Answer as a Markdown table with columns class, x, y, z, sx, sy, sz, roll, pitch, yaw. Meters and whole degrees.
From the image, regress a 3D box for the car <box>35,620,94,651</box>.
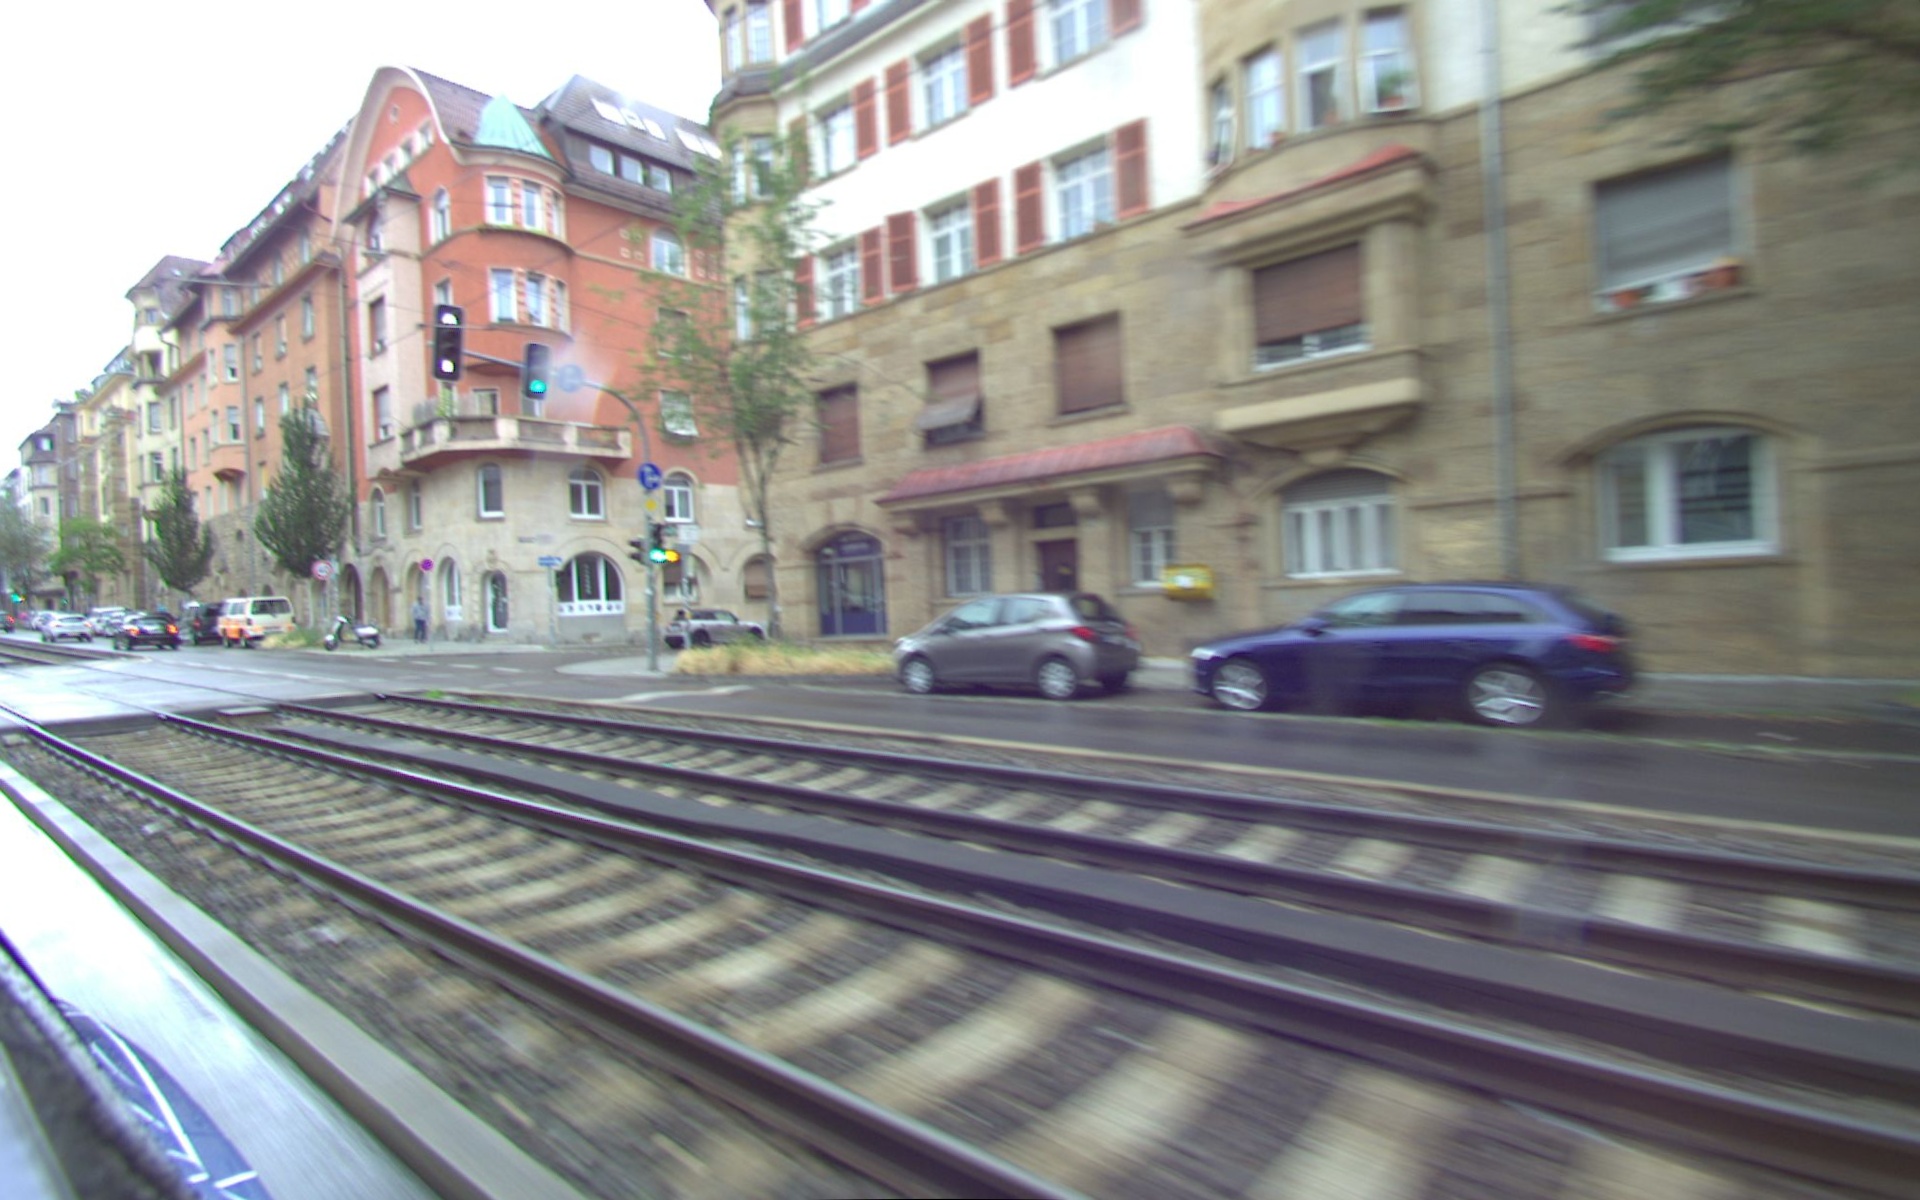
| class | x | y | z | sx | sy | sz | roll | pitch | yaw |
| --- | --- | --- | --- | --- | --- | --- | --- | --- | --- |
| car | -47.209 | 1.833 | 53.351 | 4.059 | 1.514 | 1.763 | -1 | 0 | 40 |

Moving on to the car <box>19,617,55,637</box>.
| class | x | y | z | sx | sy | sz | roll | pitch | yaw |
| --- | --- | --- | --- | --- | --- | --- | --- | --- | --- |
| car | -73.175 | 2.111 | 80.239 | 3.712 | 1.438 | 1.736 | 0 | 3 | 43 |

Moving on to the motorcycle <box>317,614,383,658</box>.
| class | x | y | z | sx | sy | sz | roll | pitch | yaw |
| --- | --- | --- | --- | --- | --- | --- | --- | --- | --- |
| motorcycle | -20.346 | 1.185 | 33.792 | 1.754 | 1.385 | 0.770 | -1 | 0 | -17 |

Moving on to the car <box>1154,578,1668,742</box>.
| class | x | y | z | sx | sy | sz | roll | pitch | yaw |
| --- | --- | --- | --- | --- | --- | --- | --- | --- | --- |
| car | 4.818 | 0.547 | 11.336 | 4.975 | 1.471 | 1.763 | -1 | 0 | 40 |

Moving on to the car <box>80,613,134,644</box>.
| class | x | y | z | sx | sy | sz | roll | pitch | yaw |
| --- | --- | --- | --- | --- | --- | --- | --- | --- | --- |
| car | -50.942 | 1.667 | 60.406 | 4.257 | 1.684 | 1.737 | -1 | 3 | 41 |

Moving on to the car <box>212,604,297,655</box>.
| class | x | y | z | sx | sy | sz | roll | pitch | yaw |
| --- | --- | --- | --- | --- | --- | --- | --- | --- | --- |
| car | -28.430 | 1.136 | 40.731 | 4.473 | 1.945 | 1.711 | -1 | 0 | 40 |

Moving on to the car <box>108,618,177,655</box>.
| class | x | y | z | sx | sy | sz | roll | pitch | yaw |
| --- | --- | --- | --- | --- | --- | --- | --- | --- | --- |
| car | -33.737 | 1.492 | 41.755 | 3.733 | 1.474 | 1.636 | -2 | -1 | 42 |

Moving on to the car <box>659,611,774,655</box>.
| class | x | y | z | sx | sy | sz | roll | pitch | yaw |
| --- | --- | --- | --- | --- | --- | --- | --- | --- | --- |
| car | -9.073 | 1.197 | 37.912 | 1.746 | 1.478 | 3.945 | -1 | 0 | 41 |

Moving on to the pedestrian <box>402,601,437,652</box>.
| class | x | y | z | sx | sy | sz | roll | pitch | yaw |
| --- | --- | --- | --- | --- | --- | --- | --- | --- | --- |
| pedestrian | -19.580 | 0.955 | 36.649 | 0.892 | 1.731 | 0.709 | -1 | 6 | 42 |

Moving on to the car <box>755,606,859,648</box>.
| class | x | y | z | sx | sy | sz | roll | pitch | yaw |
| --- | --- | --- | --- | --- | --- | --- | --- | --- | --- |
| car | -6.213 | 1.065 | 41.353 | 1.997 | 1.586 | 3.950 | -1 | 0 | 37 |

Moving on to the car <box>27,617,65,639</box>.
| class | x | y | z | sx | sy | sz | roll | pitch | yaw |
| --- | --- | --- | --- | --- | --- | --- | --- | --- | --- |
| car | -69.498 | 2.088 | 76.911 | 4.043 | 1.462 | 1.736 | 0 | 3 | 43 |

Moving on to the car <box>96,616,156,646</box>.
| class | x | y | z | sx | sy | sz | roll | pitch | yaw |
| --- | --- | --- | --- | --- | --- | --- | --- | --- | --- |
| car | -46.791 | 1.705 | 56.738 | 4.594 | 1.502 | 1.738 | -1 | 2 | 40 |

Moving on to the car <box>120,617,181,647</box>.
| class | x | y | z | sx | sy | sz | roll | pitch | yaw |
| --- | --- | --- | --- | --- | --- | --- | --- | --- | --- |
| car | -42.946 | 1.673 | 53.689 | 3.691 | 1.414 | 1.738 | -1 | 2 | 39 |

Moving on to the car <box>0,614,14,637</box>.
| class | x | y | z | sx | sy | sz | roll | pitch | yaw |
| --- | --- | --- | --- | --- | --- | --- | --- | --- | --- |
| car | -71.151 | 1.899 | 74.409 | 4.125 | 1.629 | 1.902 | -1 | 0 | 40 |

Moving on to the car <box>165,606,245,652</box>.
| class | x | y | z | sx | sy | sz | roll | pitch | yaw |
| --- | --- | --- | --- | --- | --- | --- | --- | --- | --- |
| car | -33.962 | 1.271 | 45.479 | 4.830 | 1.945 | 1.886 | -1 | 0 | 41 |

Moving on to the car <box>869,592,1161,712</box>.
| class | x | y | z | sx | sy | sz | roll | pitch | yaw |
| --- | --- | --- | --- | --- | --- | --- | --- | --- | --- |
| car | 0.716 | 0.677 | 15.046 | 4.172 | 1.541 | 1.673 | -1 | 0 | 40 |

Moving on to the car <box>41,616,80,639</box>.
| class | x | y | z | sx | sy | sz | roll | pitch | yaw |
| --- | --- | --- | --- | --- | --- | --- | --- | --- | --- |
| car | -64.857 | 1.981 | 72.924 | 3.712 | 1.493 | 1.695 | 0 | 3 | 43 |

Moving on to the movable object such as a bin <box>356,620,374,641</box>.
| class | x | y | z | sx | sy | sz | roll | pitch | yaw |
| --- | --- | --- | --- | --- | --- | --- | --- | --- | --- |
| movable object such as a bin | -26.950 | 1.371 | 45.852 | 0.656 | 0.905 | 0.540 | -1 | 0 | 45 |
